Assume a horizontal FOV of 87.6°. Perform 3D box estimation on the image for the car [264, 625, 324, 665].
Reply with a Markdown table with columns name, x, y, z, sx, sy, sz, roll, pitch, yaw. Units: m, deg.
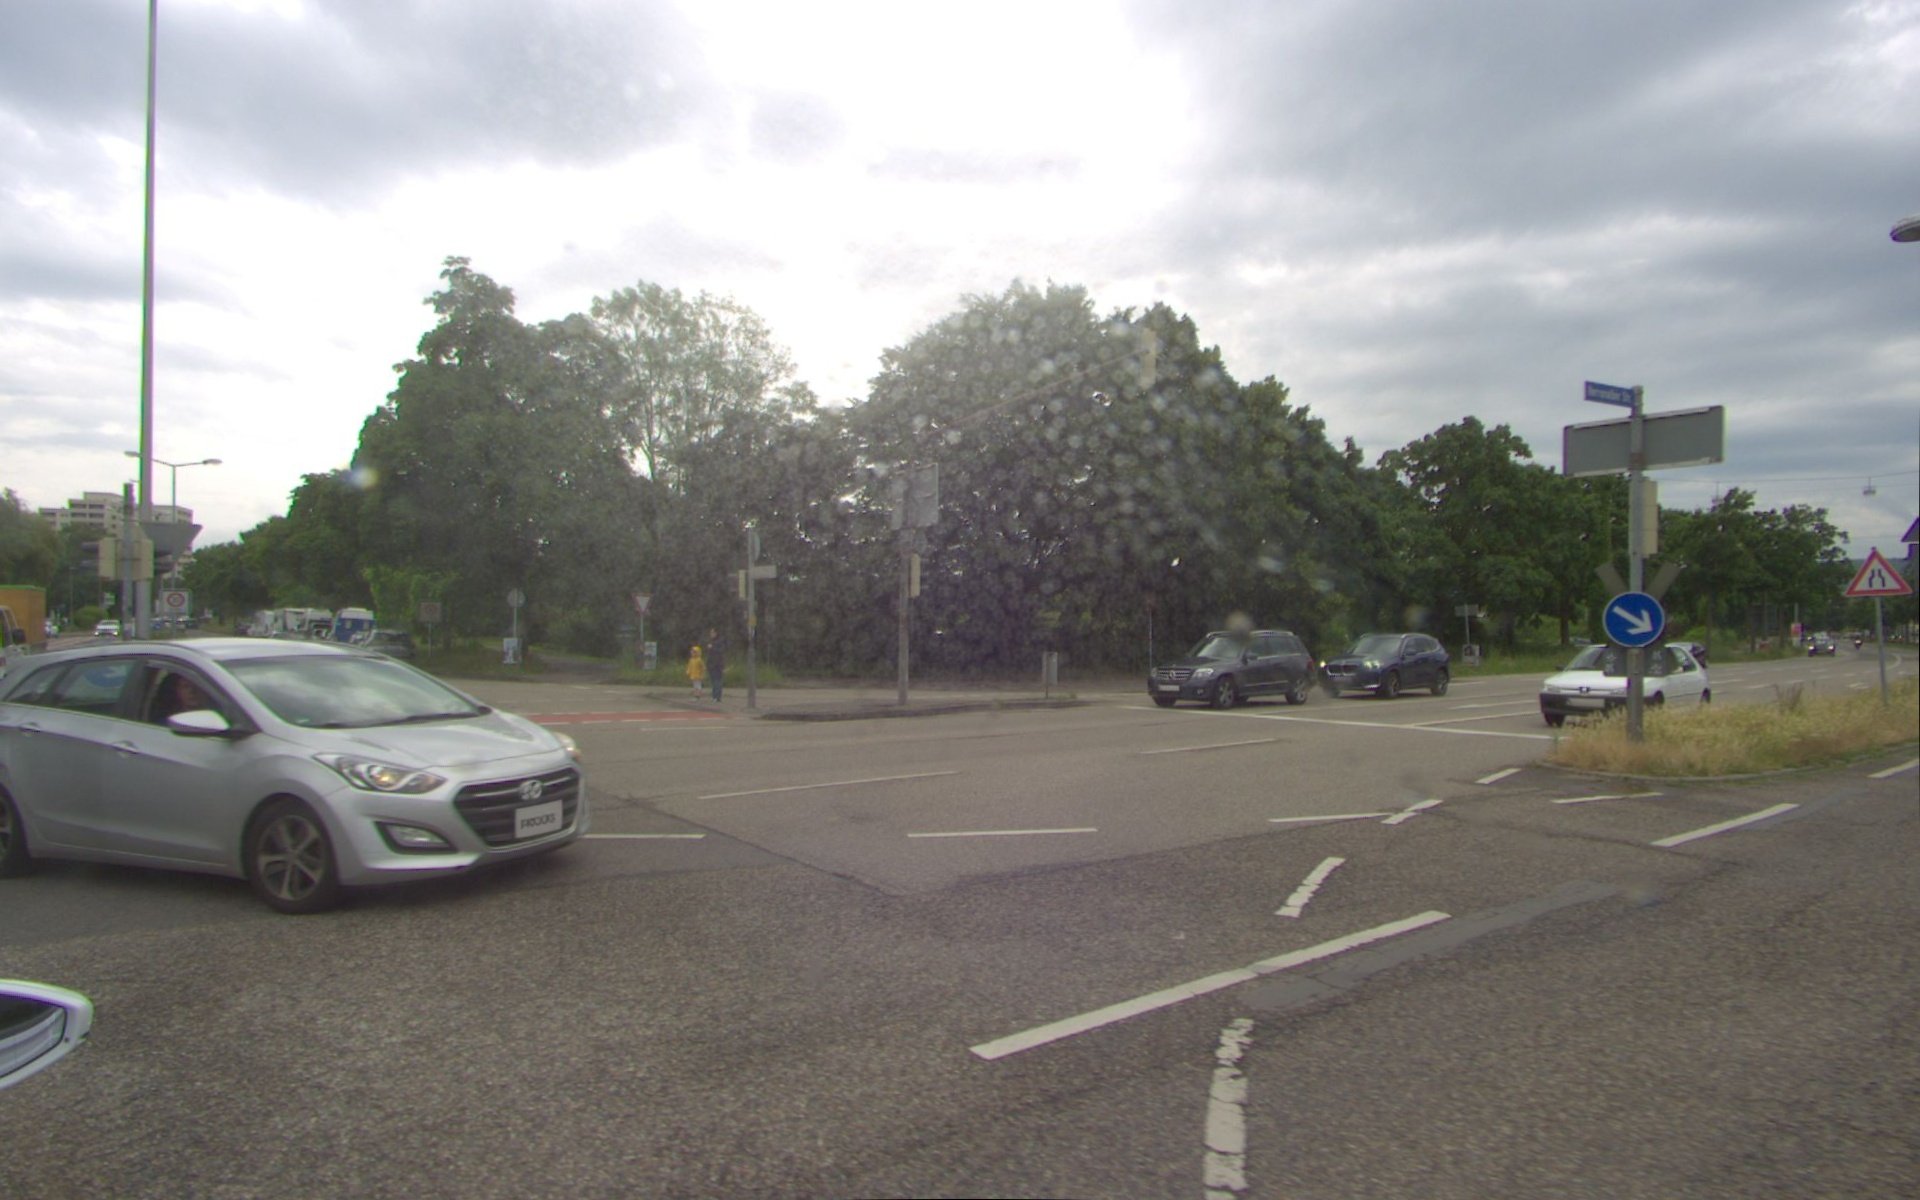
| name | x | y | z | sx | sy | sz | roll | pitch | yaw |
| --- | --- | --- | --- | --- | --- | --- | --- | --- | --- |
| car | -26.467 | 1.746 | 39.756 | 1.782 | 1.476 | 4.508 | 1 | -1 | -36 |

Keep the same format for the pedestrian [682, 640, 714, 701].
| name | x | y | z | sx | sy | sz | roll | pitch | yaw |
| --- | --- | --- | --- | --- | --- | --- | --- | --- | --- |
| pedestrian | -5.977 | 1.597 | 22.871 | 0.522 | 1.359 | 0.520 | 1 | -1 | -39 |

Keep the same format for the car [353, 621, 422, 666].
| name | x | y | z | sx | sy | sz | roll | pitch | yaw |
| --- | --- | --- | --- | --- | --- | --- | --- | --- | --- |
| car | -22.837 | 1.699 | 39.889 | 1.769 | 1.683 | 3.968 | 2 | -1 | -39 |

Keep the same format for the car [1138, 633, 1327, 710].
| name | x | y | z | sx | sy | sz | roll | pitch | yaw |
| --- | --- | --- | --- | --- | --- | --- | --- | --- | --- |
| car | 6.165 | 1.533 | 22.442 | 4.428 | 1.523 | 1.832 | 2 | -1 | -38 |

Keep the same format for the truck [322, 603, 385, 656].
| name | x | y | z | sx | sy | sz | roll | pitch | yaw |
| --- | --- | --- | --- | --- | --- | --- | --- | --- | --- |
| truck | -32.478 | 1.560 | 53.526 | 2.157 | 2.690 | 6.197 | 1 | -1 | -39 |

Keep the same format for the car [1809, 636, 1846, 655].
| name | x | y | z | sx | sy | sz | roll | pitch | yaw |
| --- | --- | --- | --- | --- | --- | --- | --- | --- | --- |
| car | 73.171 | 3.825 | 84.468 | 3.956 | 1.594 | 1.745 | 2 | -2 | -40 |

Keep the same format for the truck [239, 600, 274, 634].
| name | x | y | z | sx | sy | sz | roll | pitch | yaw |
| --- | --- | --- | --- | --- | --- | --- | --- | --- | --- |
| truck | -65.611 | 1.643 | 93.342 | 1.979 | 3.047 | 5.721 | 1 | -2 | -41 |

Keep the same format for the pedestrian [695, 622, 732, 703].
| name | x | y | z | sx | sy | sz | roll | pitch | yaw |
| --- | --- | --- | --- | --- | --- | --- | --- | --- | --- |
| pedestrian | -5.530 | 1.387 | 22.460 | 0.651 | 1.772 | 0.455 | 1 | -1 | -39 |

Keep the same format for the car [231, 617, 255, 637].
| name | x | y | z | sx | sy | sz | roll | pitch | yaw |
| --- | --- | --- | --- | --- | --- | --- | --- | --- | --- |
| car | -75.580 | 2.841 | 105.576 | 1.640 | 1.943 | 3.882 | 1 | -1 | -42 |

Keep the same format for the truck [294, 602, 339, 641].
| name | x | y | z | sx | sy | sz | roll | pitch | yaw |
| --- | --- | --- | --- | --- | --- | --- | --- | --- | --- |
| truck | -49.606 | 1.652 | 77.119 | 1.980 | 2.874 | 5.679 | 1 | -2 | -42 |

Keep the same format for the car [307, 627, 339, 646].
| name | x | y | z | sx | sy | sz | roll | pitch | yaw |
| --- | --- | --- | --- | --- | --- | --- | --- | --- | --- |
| car | -41.928 | 2.388 | 65.850 | 1.314 | 1.206 | 3.622 | 1 | -2 | -40 |

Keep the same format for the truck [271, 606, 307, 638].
| name | x | y | z | sx | sy | sz | roll | pitch | yaw |
| --- | --- | --- | --- | --- | --- | --- | --- | --- | --- |
| truck | -57.674 | 1.917 | 85.994 | 1.979 | 2.605 | 5.333 | 1 | -2 | -40 |

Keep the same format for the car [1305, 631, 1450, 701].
| name | x | y | z | sx | sy | sz | roll | pitch | yaw |
| --- | --- | --- | --- | --- | --- | --- | --- | --- | --- |
| car | 10.843 | 1.649 | 25.899 | 3.956 | 1.639 | 1.863 | 2 | -2 | -40 |

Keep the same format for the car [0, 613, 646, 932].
| name | x | y | z | sx | sy | sz | roll | pitch | yaw |
| --- | --- | --- | --- | --- | --- | --- | --- | --- | --- |
| car | -4.357 | 0.870 | 6.503 | 4.251 | 1.538 | 1.791 | 0 | -1 | 22 |

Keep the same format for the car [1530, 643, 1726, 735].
| name | x | y | z | sx | sy | sz | roll | pitch | yaw |
| --- | --- | --- | --- | --- | --- | --- | --- | --- | --- |
| car | 11.578 | 1.442 | 17.256 | 4.102 | 1.375 | 1.634 | 2 | -1 | -38 |

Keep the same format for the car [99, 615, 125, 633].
| name | x | y | z | sx | sy | sz | roll | pitch | yaw |
| --- | --- | --- | --- | --- | --- | --- | --- | --- | --- |
| car | -80.922 | 2.304 | 95.580 | 1.630 | 1.614 | 3.971 | 1 | -2 | -37 |

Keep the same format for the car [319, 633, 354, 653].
| name | x | y | z | sx | sy | sz | roll | pitch | yaw |
| --- | --- | --- | --- | --- | --- | --- | --- | --- | --- |
| car | -36.140 | 2.477 | 58.002 | 1.314 | 1.118 | 2.781 | 1 | -2 | -40 |

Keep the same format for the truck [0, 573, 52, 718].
| name | x | y | z | sx | sy | sz | roll | pitch | yaw |
| --- | --- | --- | --- | --- | --- | --- | --- | --- | --- |
| truck | -17.291 | 0.711 | 17.142 | 2.138 | 2.227 | 5.794 | 1 | -1 | -38 |

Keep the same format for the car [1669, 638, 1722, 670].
| name | x | y | z | sx | sy | sz | roll | pitch | yaw |
| --- | --- | --- | --- | --- | --- | --- | --- | --- | --- |
| car | 37.642 | 2.729 | 51.216 | 1.644 | 1.549 | 3.855 | 0 | -2 | 45 |
